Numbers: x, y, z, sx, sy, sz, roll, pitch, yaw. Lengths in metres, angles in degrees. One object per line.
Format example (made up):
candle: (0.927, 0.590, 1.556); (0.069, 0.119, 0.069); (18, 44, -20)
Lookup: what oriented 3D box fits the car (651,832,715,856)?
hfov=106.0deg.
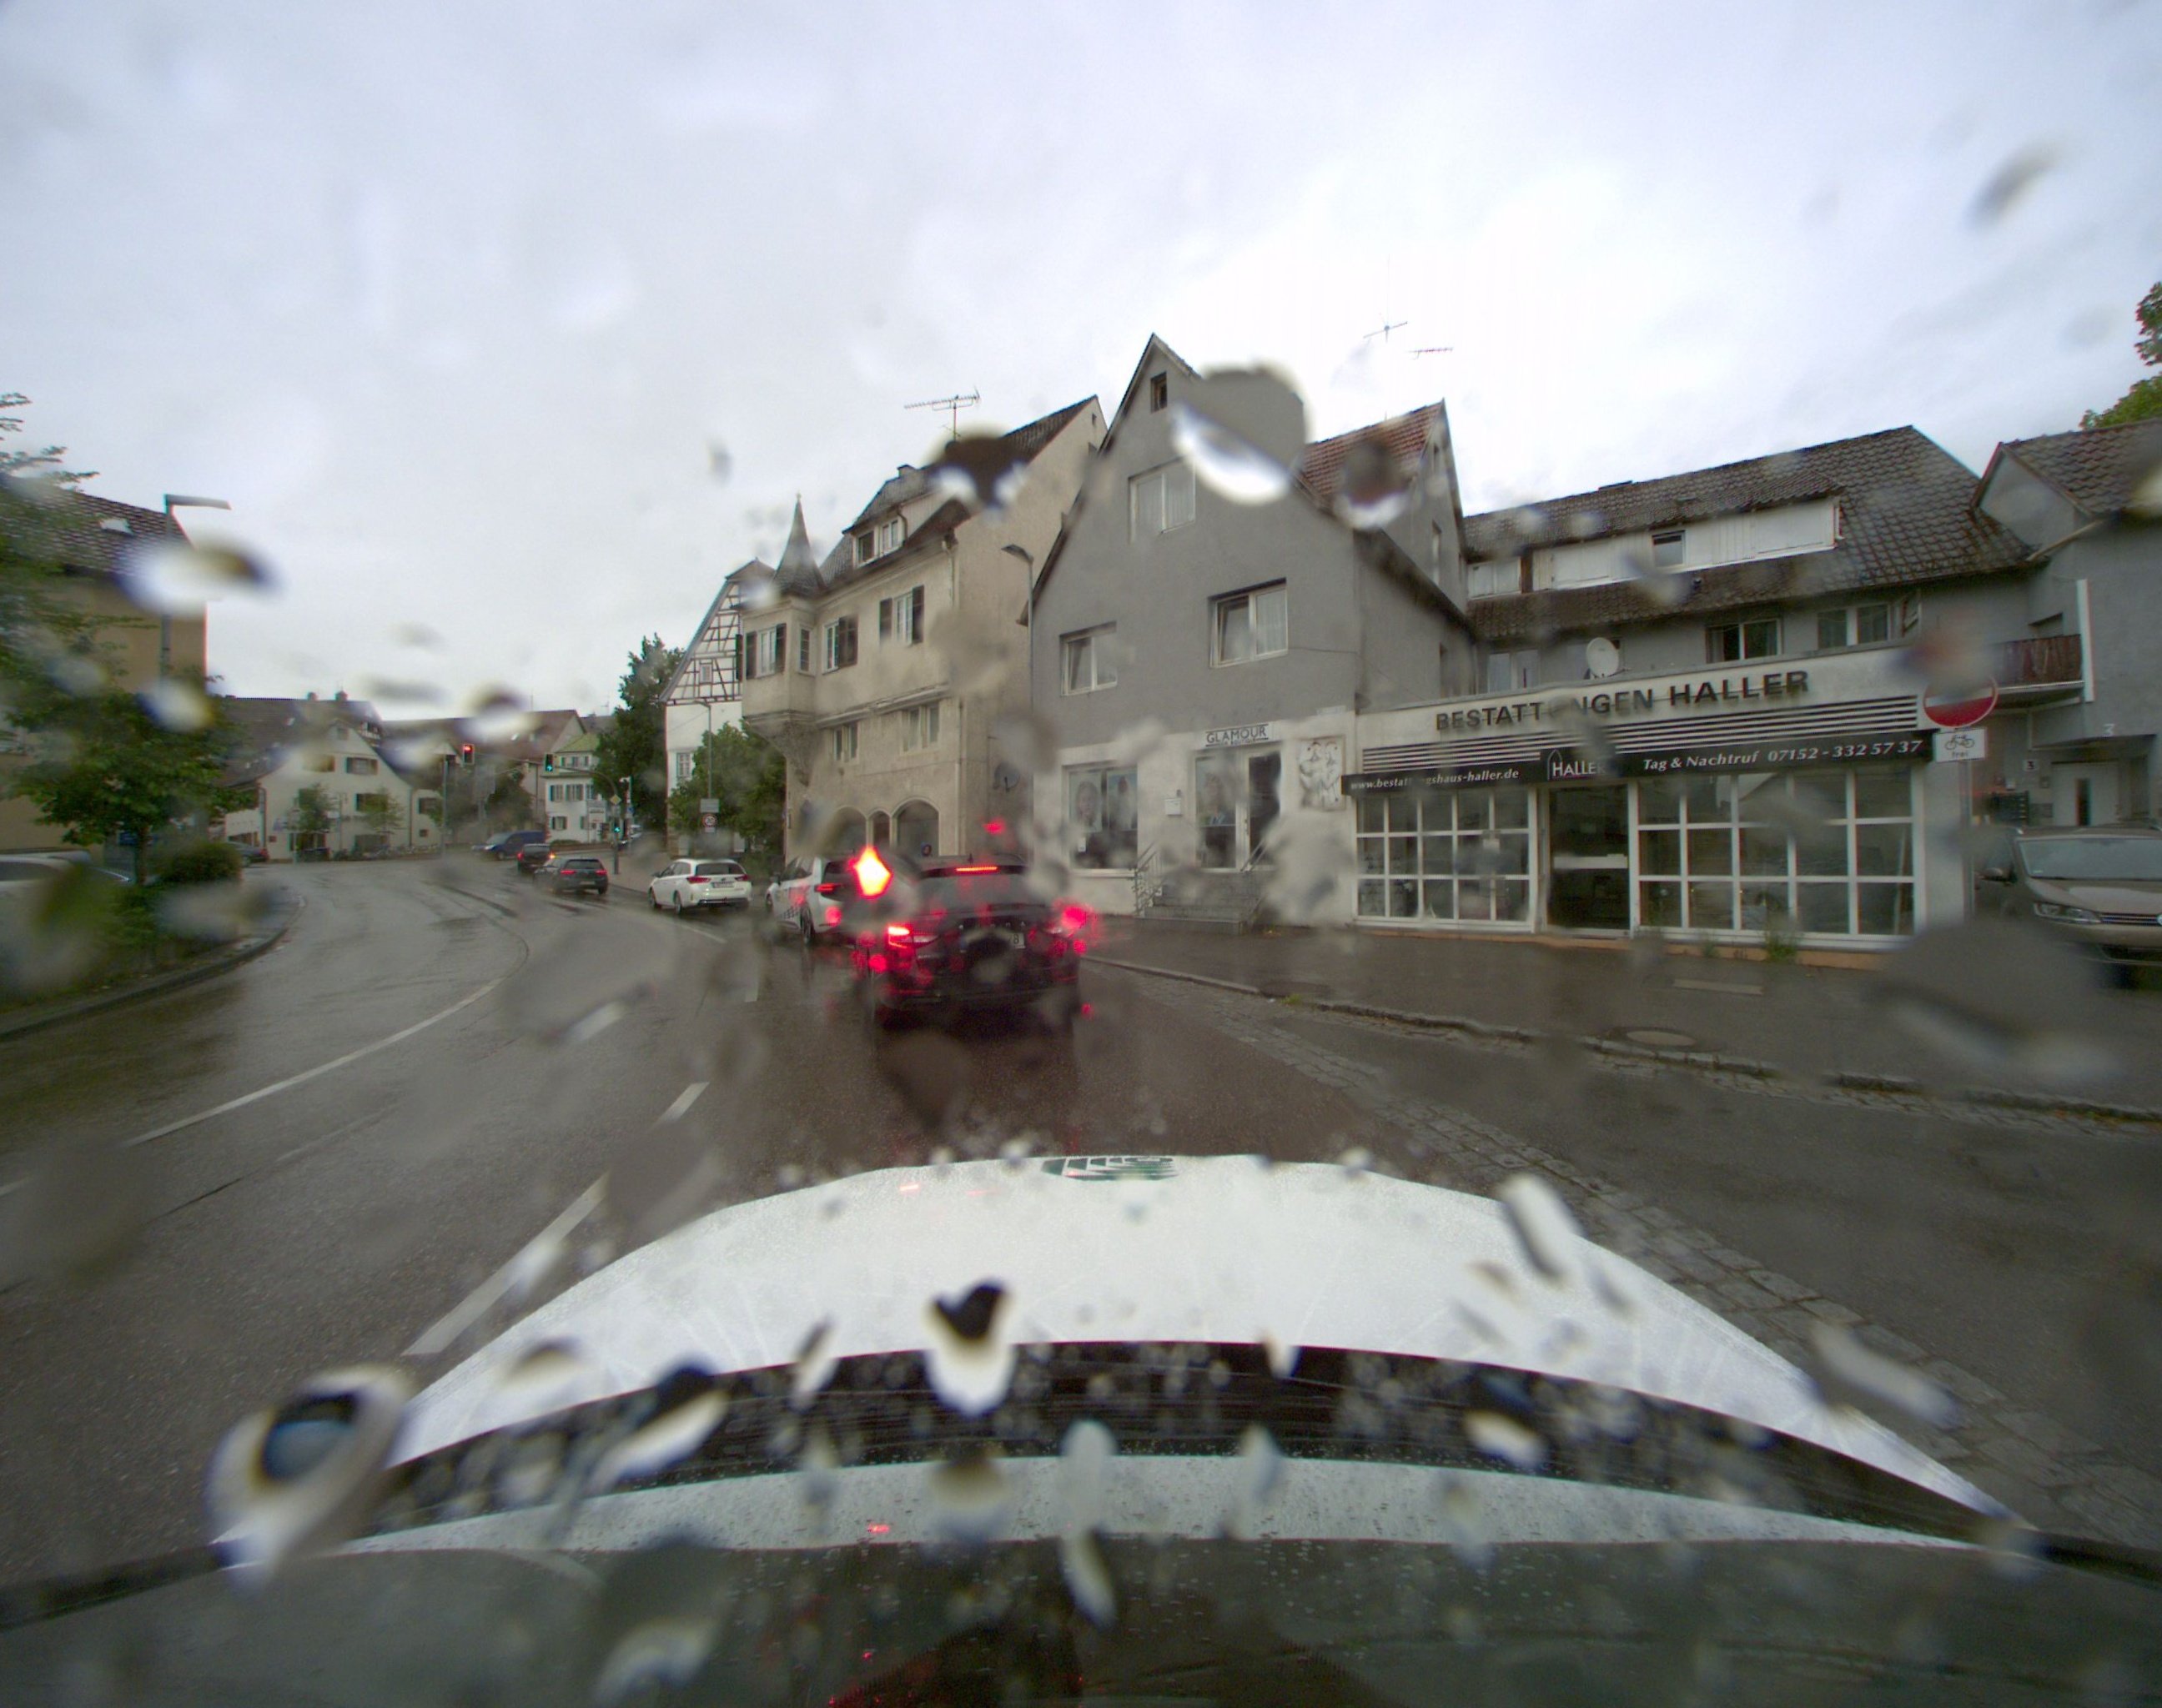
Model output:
car: (-32.381, -0.850, 66.451); (1.975, 1.881, 4.403); (1, 1, 25)

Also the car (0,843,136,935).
car: (-25.194, 0.911, 18.148); (1.938, 1.824, 4.967); (2, 7, 29)

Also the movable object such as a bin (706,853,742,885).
movable object such as a bin: (-15.237, 0.616, 34.752); (1.163, 1.313, 1.173); (0, 0, -37)

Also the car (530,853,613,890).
car: (-19.859, 0.627, 31.690); (2.011, 1.302, 3.951); (0, 0, -43)

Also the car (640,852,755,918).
car: (-10.510, 0.753, 22.159); (1.900, 1.596, 4.276); (0, 0, -39)

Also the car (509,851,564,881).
car: (-28.517, 0.603, 42.748); (1.588, 1.524, 3.410); (0, 0, -19)

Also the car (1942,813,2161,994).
car: (12.209, 0.438, 9.790); (1.974, 1.771, 4.026); (0, 3, 38)

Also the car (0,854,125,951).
car: (-19.236, 0.831, 13.671); (1.977, 1.629, 3.664); (0, 0, 21)

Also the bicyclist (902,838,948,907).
bicyclist: (-3.572, 0.393, 18.612); (0.688, 1.517, 1.020); (0, 1, -34)

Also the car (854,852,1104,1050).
car: (-1.327, 0.711, 8.365); (1.891, 1.448, 4.333); (0, 0, -16)

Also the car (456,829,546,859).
car: (-37.321, -0.639, 52.538); (1.977, 1.881, 4.399); (0, 0, 18)

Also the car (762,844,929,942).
car: (-4.317, 0.576, 14.515); (1.869, 1.473, 3.960); (0, 0, -32)

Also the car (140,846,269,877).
car: (-46.713, 0.381, 43.494); (1.839, 1.546, 4.523); (-2, -1, 37)
